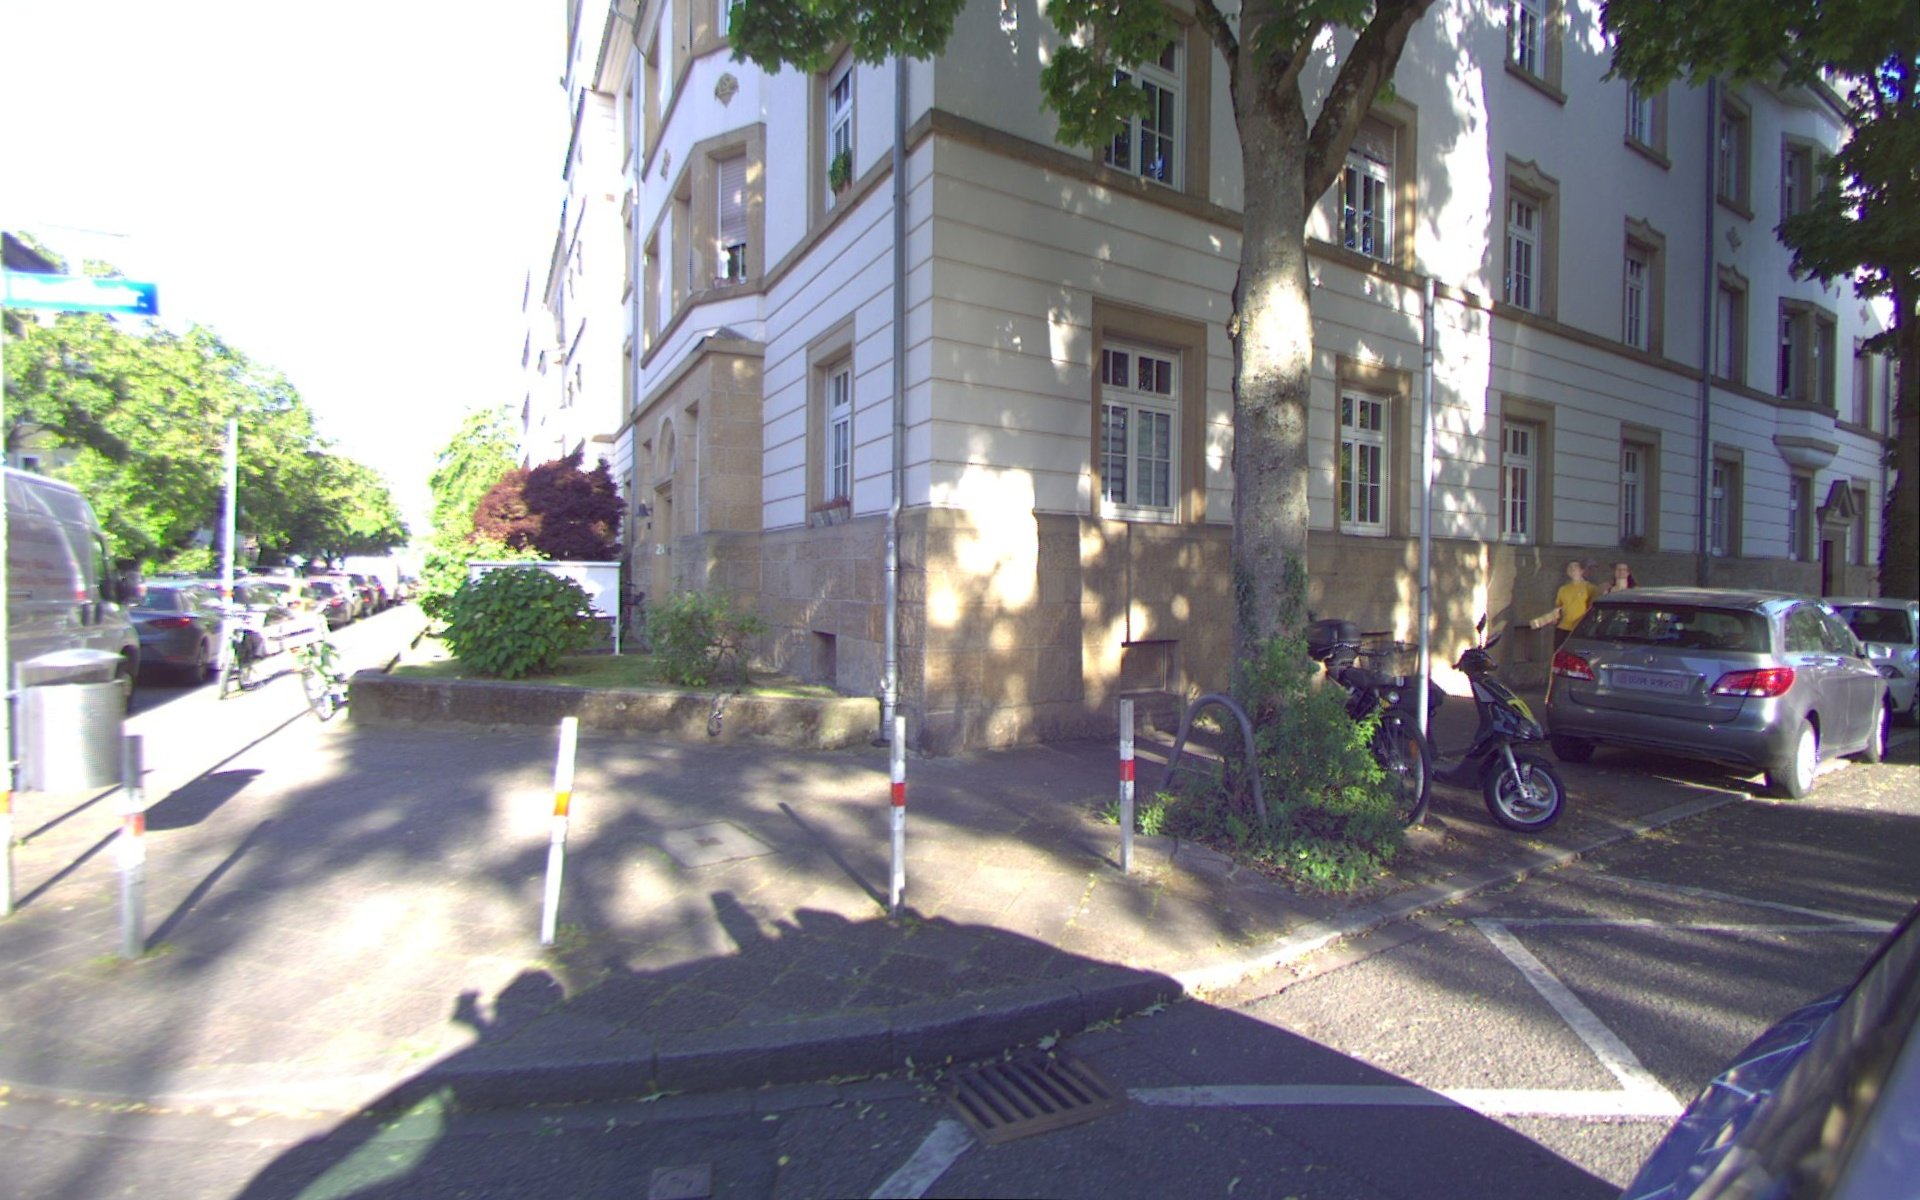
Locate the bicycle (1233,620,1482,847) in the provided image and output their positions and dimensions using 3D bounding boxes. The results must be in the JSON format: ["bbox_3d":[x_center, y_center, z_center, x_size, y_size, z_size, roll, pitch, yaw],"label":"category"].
[{"bbox_3d":[2.519,0.776,6.670,0.424,1.176,1.803,1,2,-19],"label":"bicycle"}]

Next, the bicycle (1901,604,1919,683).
[{"bbox_3d":[15.117,0.679,15.192,0.330,1.210,1.415,0,1,-37],"label":"bicycle"}]

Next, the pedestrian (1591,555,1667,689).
[{"bbox_3d":[9.629,0.295,14.575,0.826,1.868,0.706,0,1,-41],"label":"pedestrian"}]

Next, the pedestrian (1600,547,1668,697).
[{"bbox_3d":[8.059,0.246,12.106,0.507,1.740,0.520,0,1,-37],"label":"pedestrian"}]

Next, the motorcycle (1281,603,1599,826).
[{"bbox_3d":[3.274,0.707,7.083,0.666,1.227,1.855,2,3,-38],"label":"motorcycle"}]

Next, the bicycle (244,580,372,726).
[{"bbox_3d":[-6.485,0.466,10.165,0.625,1.306,1.875,0,1,-18],"label":"bicycle"}]

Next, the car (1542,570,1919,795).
[{"bbox_3d":[7.050,0.557,9.048,4.057,1.559,1.686,0,2,-37],"label":"car"}]

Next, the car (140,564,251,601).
[{"bbox_3d":[-35.509,-0.822,47.130,3.920,1.683,1.729,0,2,-30],"label":"car"}]

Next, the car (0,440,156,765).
[{"bbox_3d":[-8.944,-0.017,8.455,2.258,2.498,5.675,0,2,-26],"label":"car"}]

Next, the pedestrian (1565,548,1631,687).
[{"bbox_3d":[8.865,0.227,14.070,0.693,1.868,0.529,0,1,-34],"label":"pedestrian"}]

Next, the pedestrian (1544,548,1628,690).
[{"bbox_3d":[7.861,0.222,12.713,0.803,1.706,0.625,0,1,-36],"label":"pedestrian"}]

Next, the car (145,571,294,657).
[{"bbox_3d":[-13.930,0.170,19.279,1.753,1.440,4.225,0,2,-29],"label":"car"}]

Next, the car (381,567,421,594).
[{"bbox_3d":[-32.667,-1.142,59.233,1.766,1.501,4.008,0,2,-25],"label":"car"}]

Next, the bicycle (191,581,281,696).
[{"bbox_3d":[-8.944,0.426,12.559,0.463,1.306,1.874,0,1,-22],"label":"bicycle"}]

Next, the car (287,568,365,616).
[{"bbox_3d":[-21.318,-0.314,34.168,1.753,1.527,4.227,0,2,-26],"label":"car"}]

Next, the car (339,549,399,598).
[{"bbox_3d":[-28.093,-1.263,48.274,2.095,2.222,5.348,0,2,-26],"label":"car"}]

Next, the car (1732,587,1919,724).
[{"bbox_3d":[11.268,0.574,12.692,3.788,1.424,1.727,0,2,-40],"label":"car"}]

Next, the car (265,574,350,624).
[{"bbox_3d":[-18.701,-0.072,29.158,1.753,1.315,4.225,0,2,-29],"label":"car"}]

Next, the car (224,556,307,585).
[{"bbox_3d":[-40.933,-1.745,59.758,3.920,1.683,1.729,0,2,-30],"label":"car"}]

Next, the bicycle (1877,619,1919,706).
[{"bbox_3d":[14.007,0.908,14.365,0.330,1.210,1.415,0,1,-37],"label":"bicycle"}]

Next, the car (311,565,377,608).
[{"bbox_3d":[-23.225,-0.555,38.298,1.753,1.527,4.227,0,2,-26],"label":"car"}]

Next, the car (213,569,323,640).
[{"bbox_3d":[-16.356,0.039,24.111,1.753,1.527,4.225,0,2,-29],"label":"car"}]

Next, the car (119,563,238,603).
[{"bbox_3d":[-34.461,-0.755,44.751,3.920,1.683,1.729,0,2,-30],"label":"car"}]

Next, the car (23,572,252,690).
[{"bbox_3d":[-11.695,0.328,14.694,1.753,1.457,4.007,0,2,-27],"label":"car"}]

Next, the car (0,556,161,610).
[{"bbox_3d":[-28.983,-0.542,33.187,4.098,1.668,2.002,-1,0,-29],"label":"car"}]

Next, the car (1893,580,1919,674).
[{"bbox_3d":[17.858,0.450,17.579,3.924,1.551,1.641,0,1,-35],"label":"car"}]

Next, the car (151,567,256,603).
[{"bbox_3d":[-37.123,-0.750,49.776,3.920,1.683,1.729,0,2,-30],"label":"car"}]

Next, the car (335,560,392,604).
[{"bbox_3d":[-25.366,-0.780,43.164,1.767,1.789,4.154,0,2,-26],"label":"car"}]
